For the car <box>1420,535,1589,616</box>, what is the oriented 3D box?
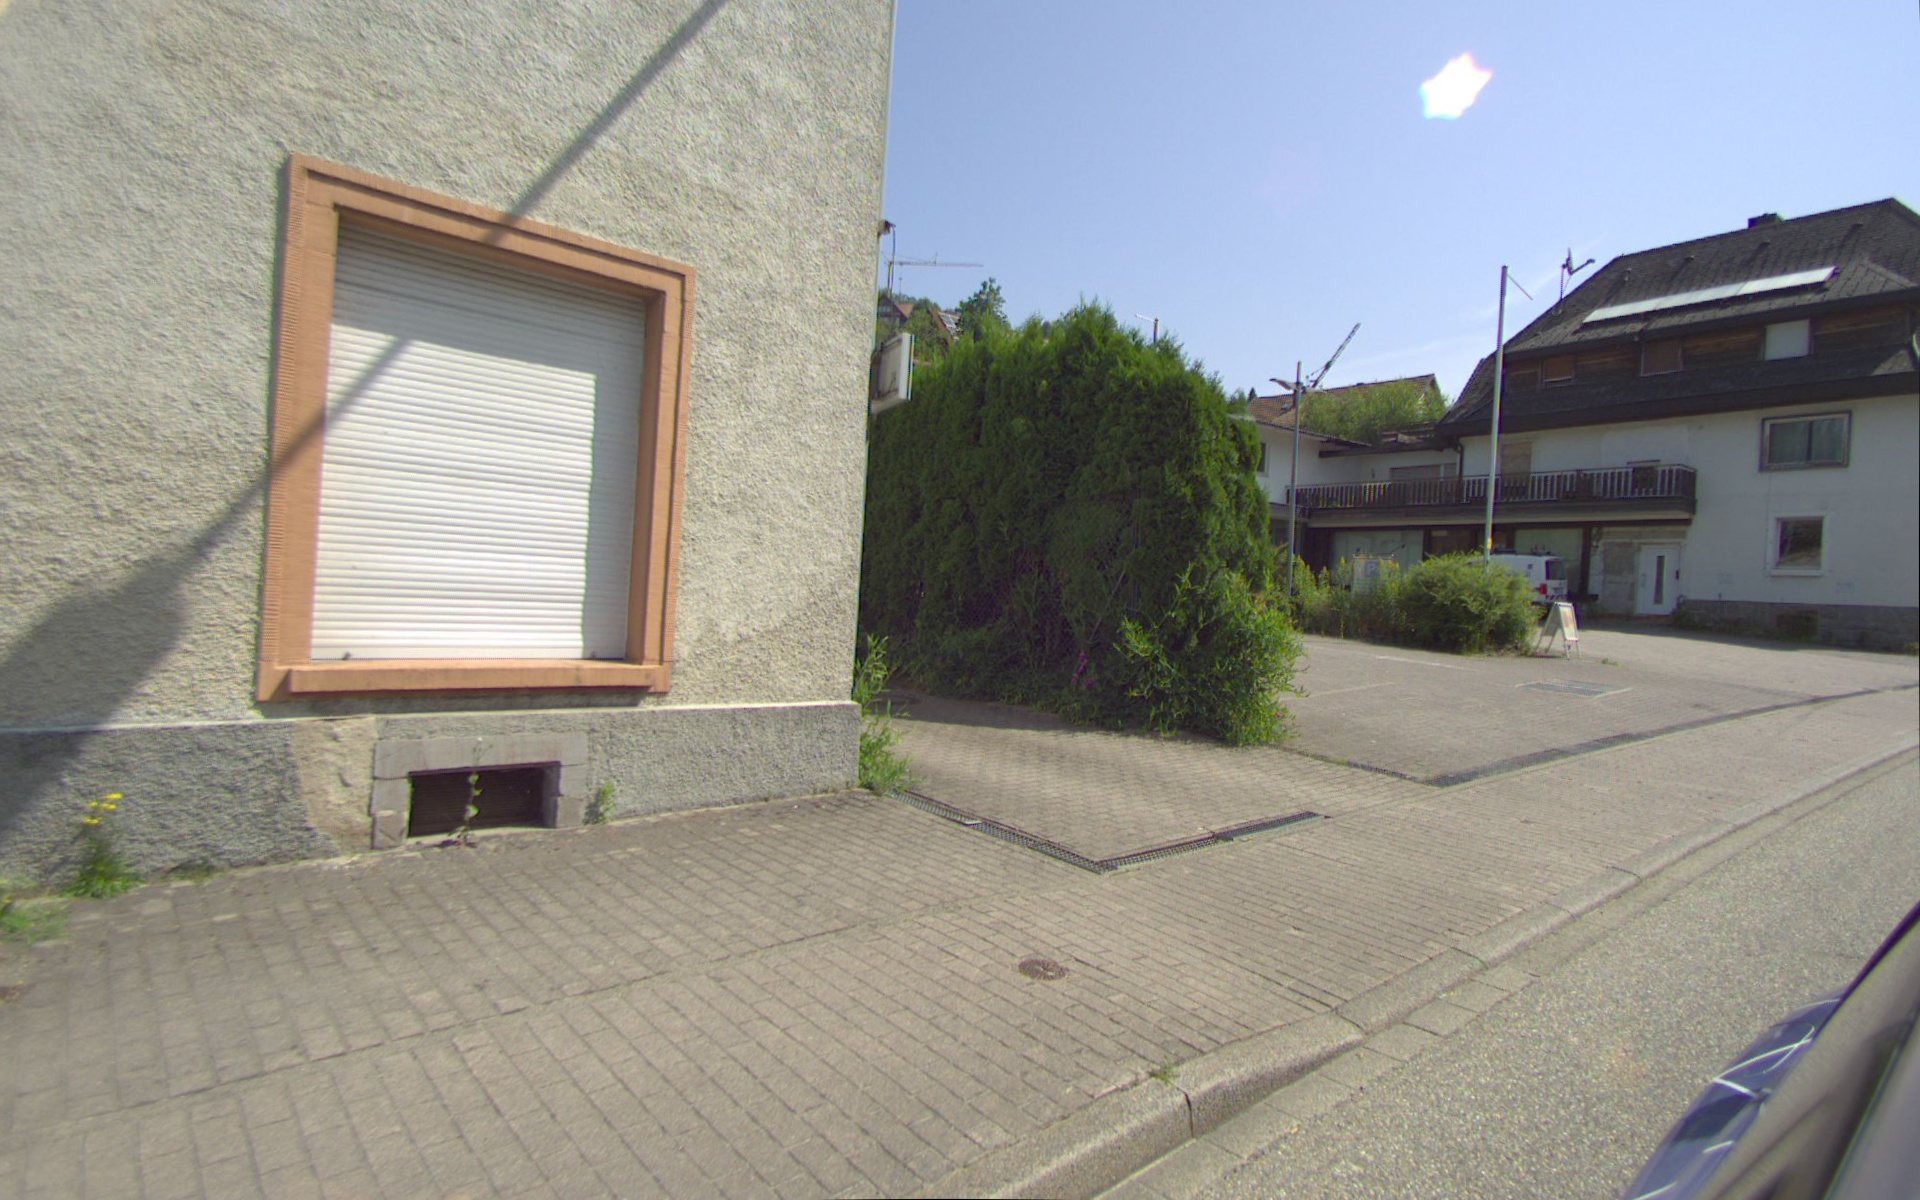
[{"bbox_3d":[16.240,-0.808,30.351,1.606,2.007,4.022,-1,7,-37],"label":"car"}]
